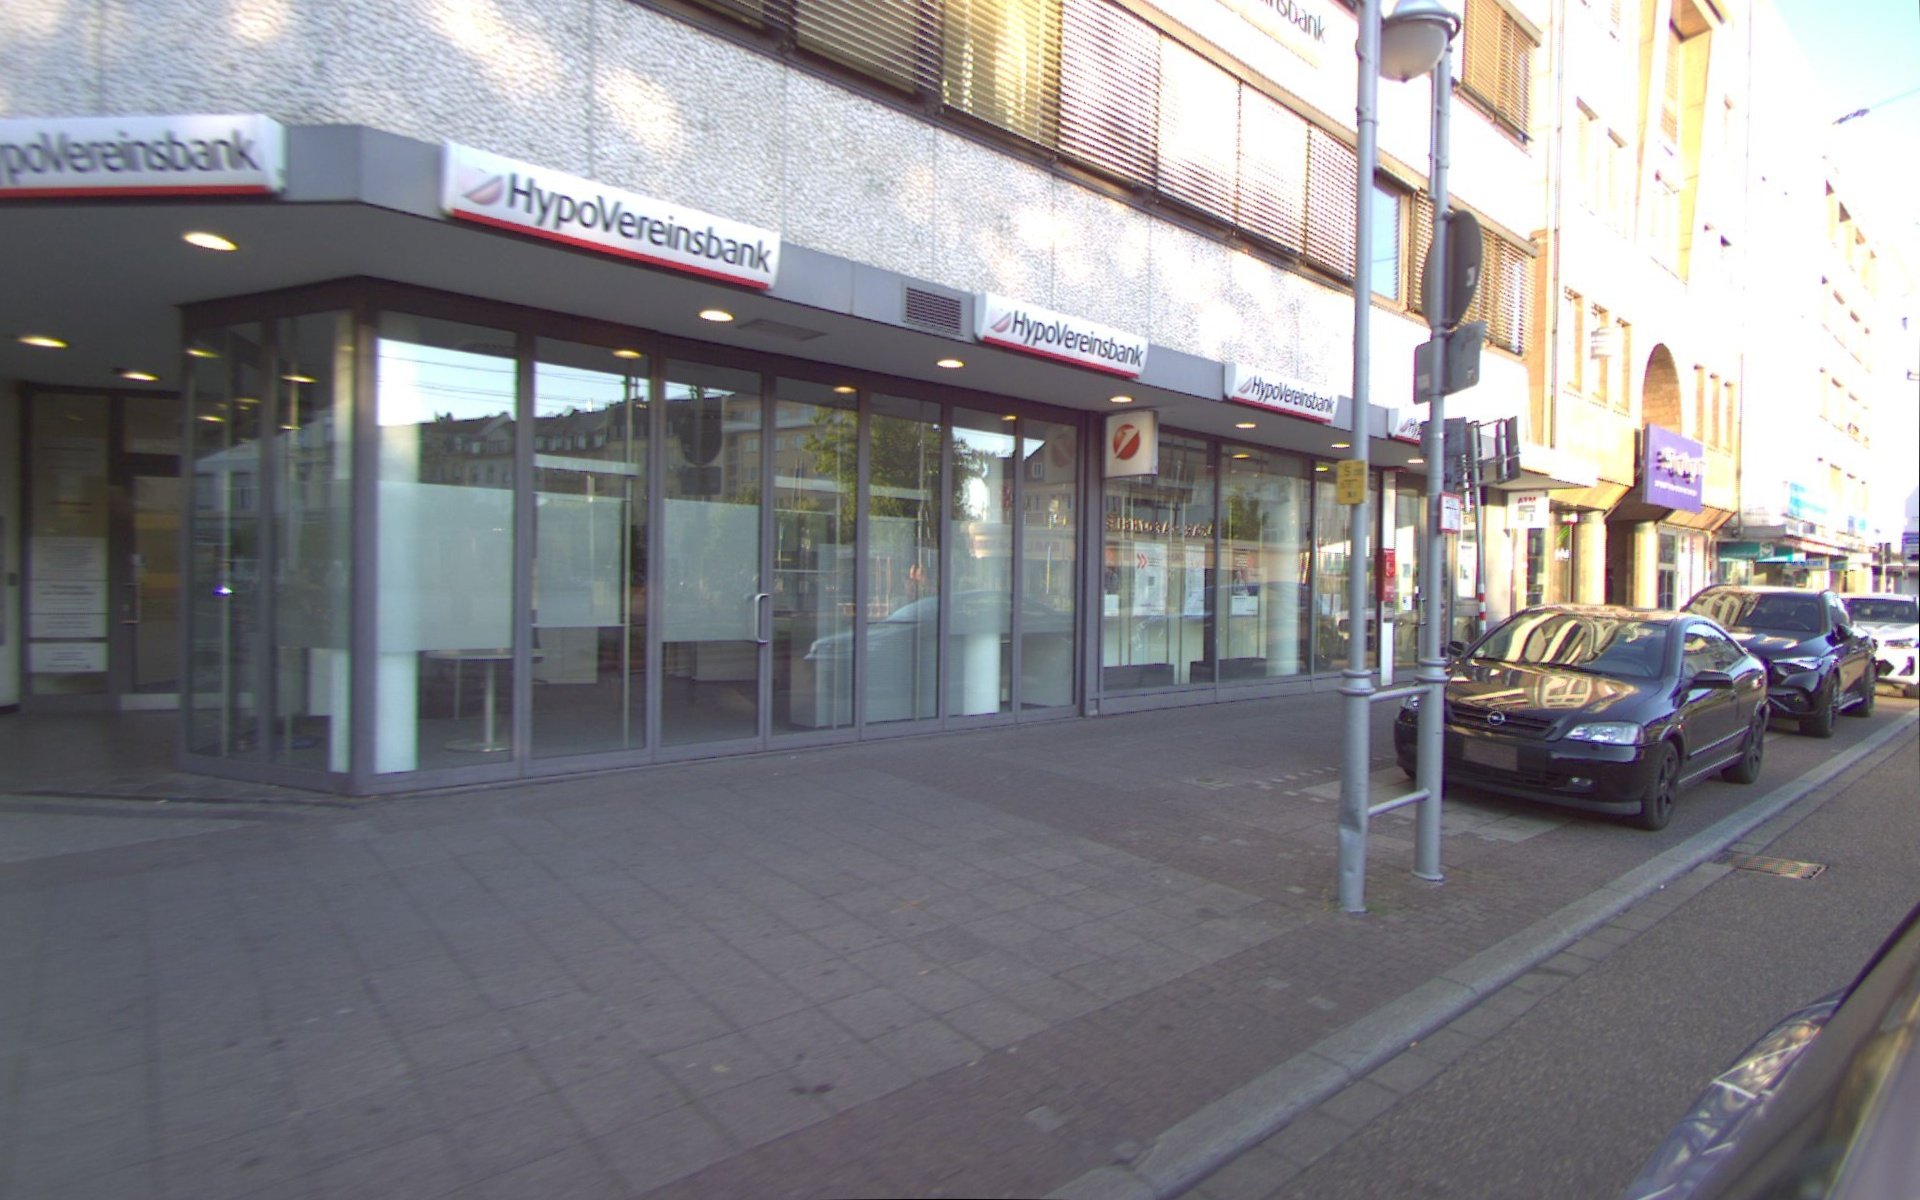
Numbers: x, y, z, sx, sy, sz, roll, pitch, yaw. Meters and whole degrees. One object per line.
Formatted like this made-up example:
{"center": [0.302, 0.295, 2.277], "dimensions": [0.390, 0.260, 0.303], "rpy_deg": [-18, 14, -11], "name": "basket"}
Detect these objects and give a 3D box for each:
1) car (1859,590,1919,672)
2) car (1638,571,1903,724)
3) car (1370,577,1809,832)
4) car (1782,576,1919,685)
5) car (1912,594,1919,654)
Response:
{"center": [20.186, 0.594, 20.947], "dimensions": [4.752, 1.571, 1.812], "rpy_deg": [0, 1, -42], "name": "car"}
{"center": [10.122, 0.516, 12.501], "dimensions": [4.497, 1.558, 1.779], "rpy_deg": [2, 0, -41], "name": "car"}
{"center": [5.115, 0.600, 7.970], "dimensions": [4.264, 1.396, 1.659], "rpy_deg": [0, 5, -41], "name": "car"}
{"center": [15.576, 0.439, 17.045], "dimensions": [4.638, 1.605, 1.820], "rpy_deg": [0, 1, -40], "name": "car"}
{"center": [25.823, 0.582, 25.958], "dimensions": [4.082, 1.453, 1.733], "rpy_deg": [-2, 3, -42], "name": "car"}
